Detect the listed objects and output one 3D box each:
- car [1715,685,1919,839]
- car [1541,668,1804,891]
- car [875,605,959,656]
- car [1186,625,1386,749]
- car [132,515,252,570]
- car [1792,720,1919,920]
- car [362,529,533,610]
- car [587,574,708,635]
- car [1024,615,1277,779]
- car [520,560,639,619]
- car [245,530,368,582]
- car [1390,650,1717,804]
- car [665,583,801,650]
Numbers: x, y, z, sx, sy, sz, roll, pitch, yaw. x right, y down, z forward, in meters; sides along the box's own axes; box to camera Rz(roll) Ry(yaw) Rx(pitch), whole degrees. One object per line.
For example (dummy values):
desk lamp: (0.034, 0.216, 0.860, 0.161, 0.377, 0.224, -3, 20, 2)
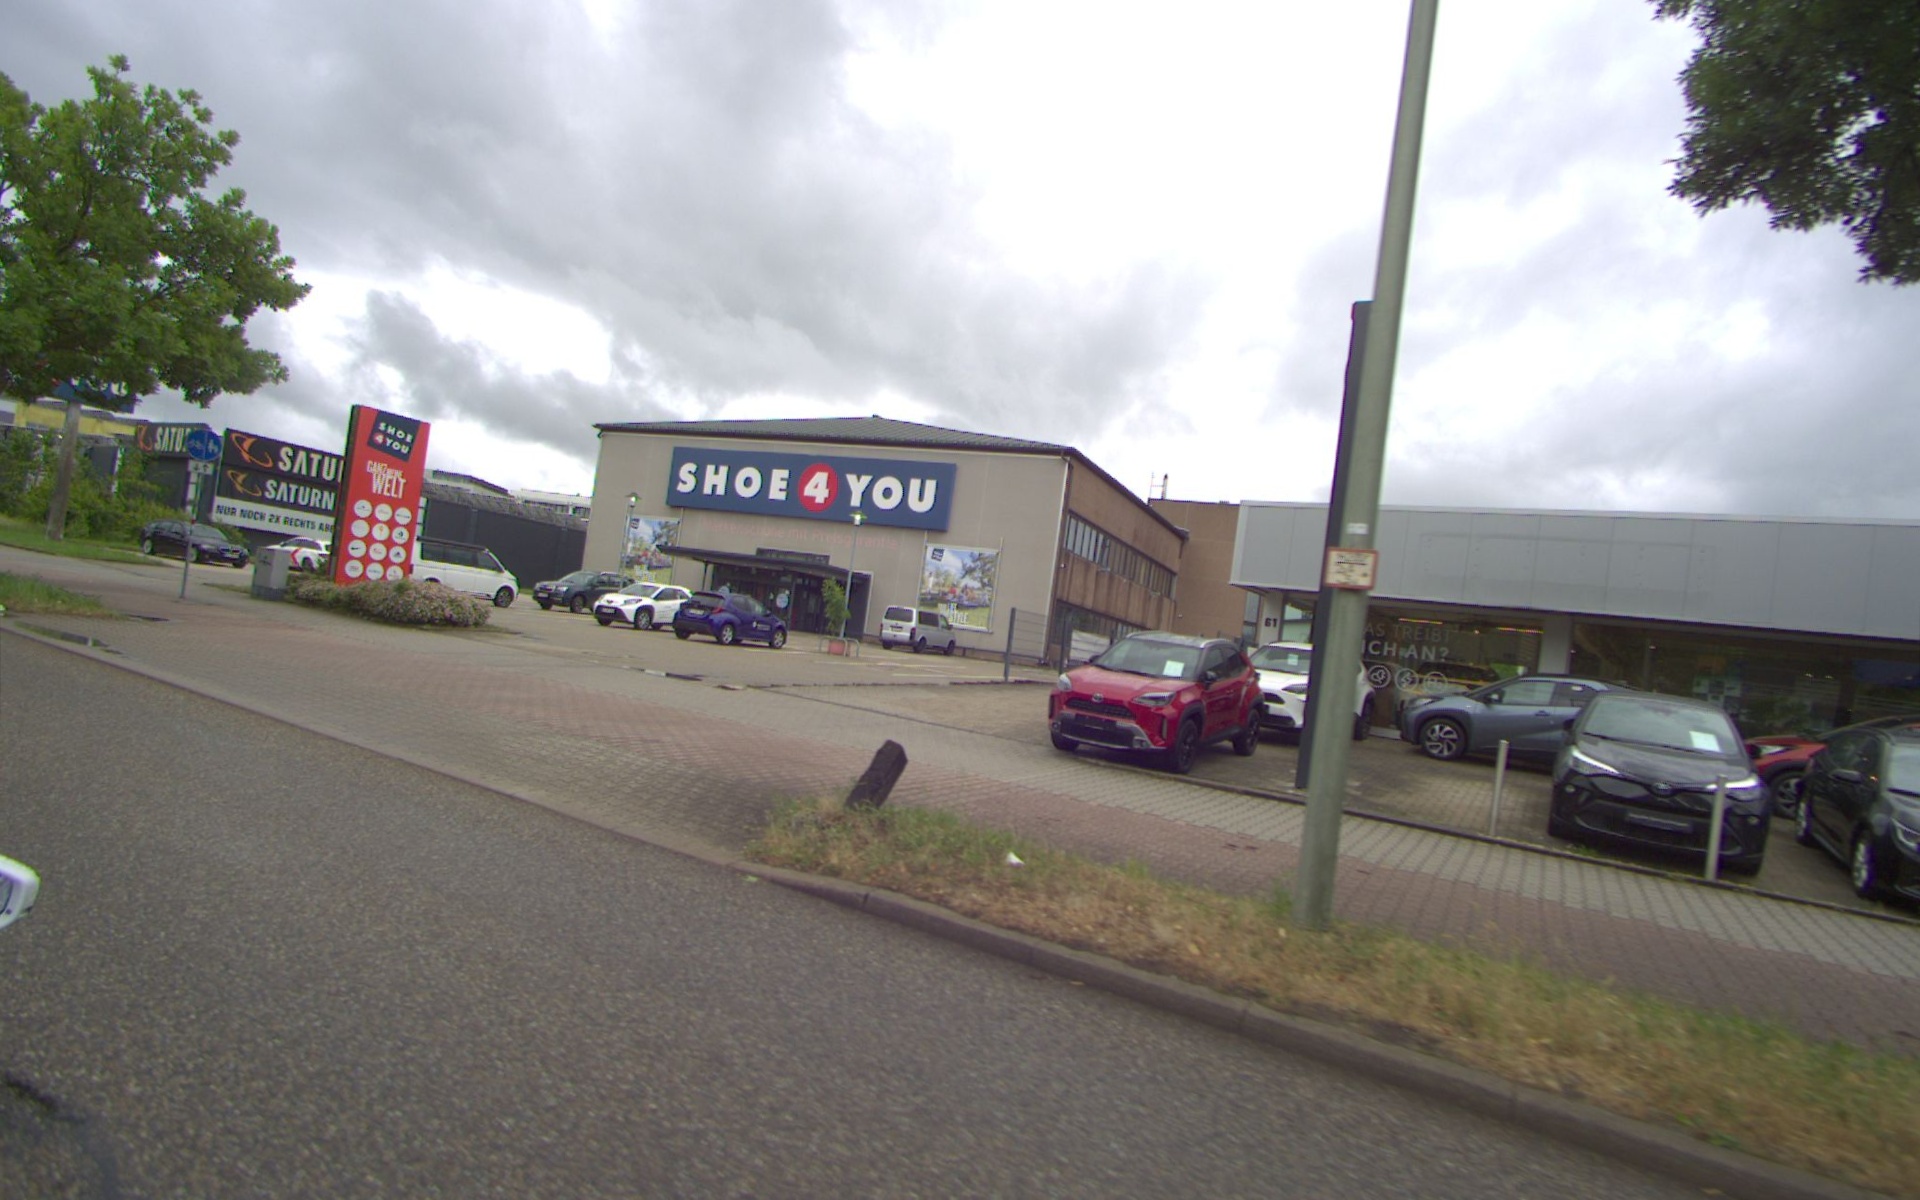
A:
car: (12.541, 2.215, 13.121, 4.057, 1.642, 1.875, 7, 0, 34)
car: (7.571, 1.715, 10.947, 1.815, 1.669, 3.987, 7, 1, 33)
car: (-1.899, 1.421, 45.588, 1.901, 1.882, 4.258, 7, -2, 25)
car: (5.611, 1.459, 16.985, 1.852, 1.641, 4.108, 7, 0, 37)
car: (-28.592, -2.135, 37.433, 4.188, 1.445, 1.583, 8, -1, 23)
car: (9.508, 2.086, 9.612, 1.771, 1.557, 3.992, 7, -1, 33)
car: (-17.139, -0.955, 33.924, 1.954, 2.037, 4.838, 6, -2, 23)
car: (-10.078, 0.179, 32.715, 1.646, 1.532, 3.651, 7, -2, 24)
car: (2.621, 1.181, 13.107, 1.766, 1.624, 3.842, 7, 1, 33)
car: (-14.804, -0.351, 39.377, 1.711, 1.749, 4.258, 7, -2, 24)
car: (-27.710, -1.860, 42.663, 4.862, 1.485, 1.887, 8, -1, 23)
car: (9.187, 1.874, 15.794, 4.057, 1.642, 1.875, 7, 0, 34)
car: (-6.674, 0.548, 30.023, 1.728, 1.532, 4.000, 7, -2, 25)
